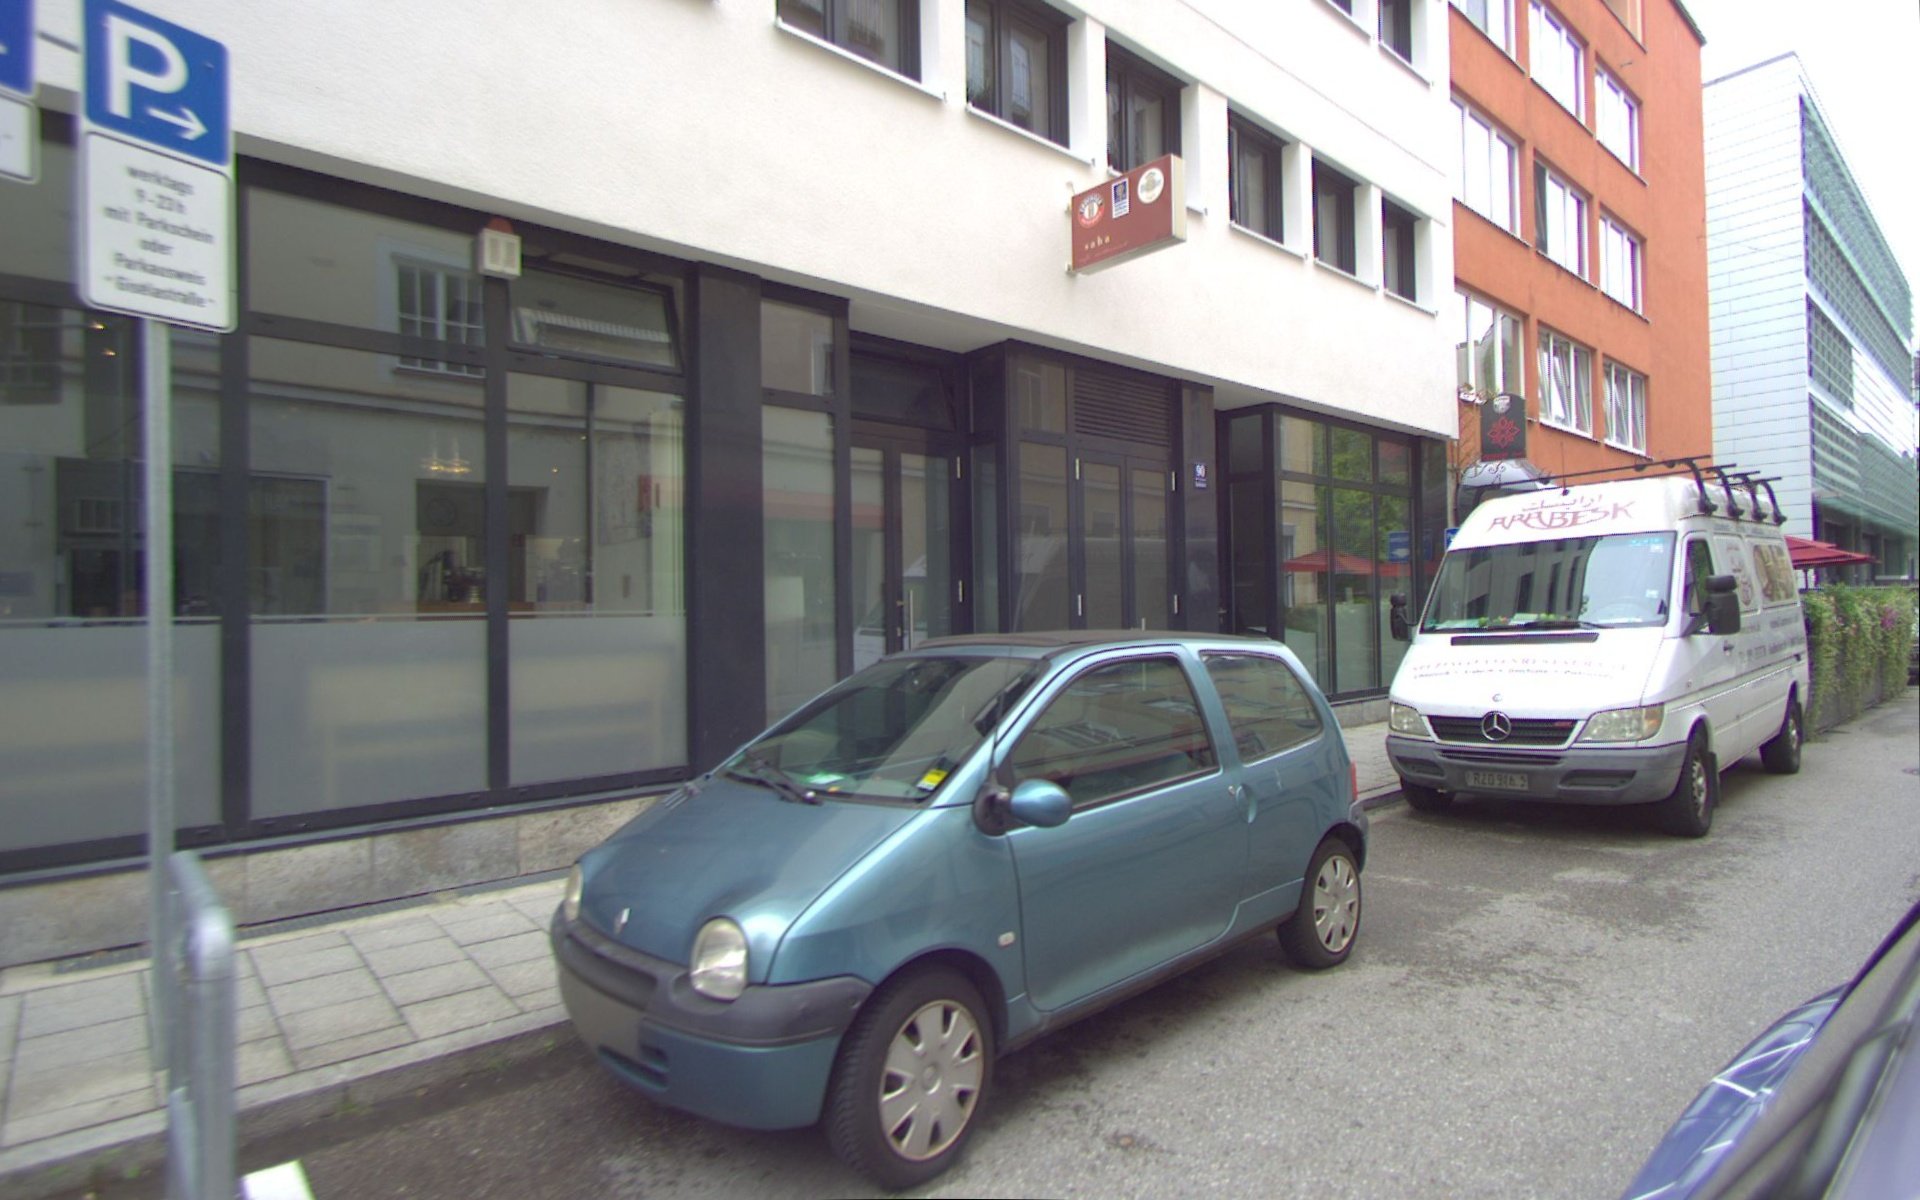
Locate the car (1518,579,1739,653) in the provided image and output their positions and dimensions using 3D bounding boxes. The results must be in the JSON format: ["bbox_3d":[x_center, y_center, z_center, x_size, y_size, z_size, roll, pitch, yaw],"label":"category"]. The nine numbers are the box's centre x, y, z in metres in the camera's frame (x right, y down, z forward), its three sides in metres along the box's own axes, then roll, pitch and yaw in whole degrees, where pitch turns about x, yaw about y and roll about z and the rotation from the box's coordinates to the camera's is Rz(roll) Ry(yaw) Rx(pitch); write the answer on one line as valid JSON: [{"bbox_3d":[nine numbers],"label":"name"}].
[{"bbox_3d":[17.214,0.395,26.243,1.808,1.742,4.468,0,0,-41],"label":"car"}]

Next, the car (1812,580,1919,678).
[{"bbox_3d":[18.374,0.524,19.820,4.311,1.732,1.827,0,-2,-40],"label":"car"}]

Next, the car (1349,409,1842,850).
[{"bbox_3d":[5.649,0.193,8.522,5.894,2.538,1.922,0,-2,-42],"label":"car"}]

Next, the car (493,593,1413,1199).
[{"bbox_3d":[0.238,0.734,4.005,3.491,1.483,1.582,0,-1,-43],"label":"car"}]
